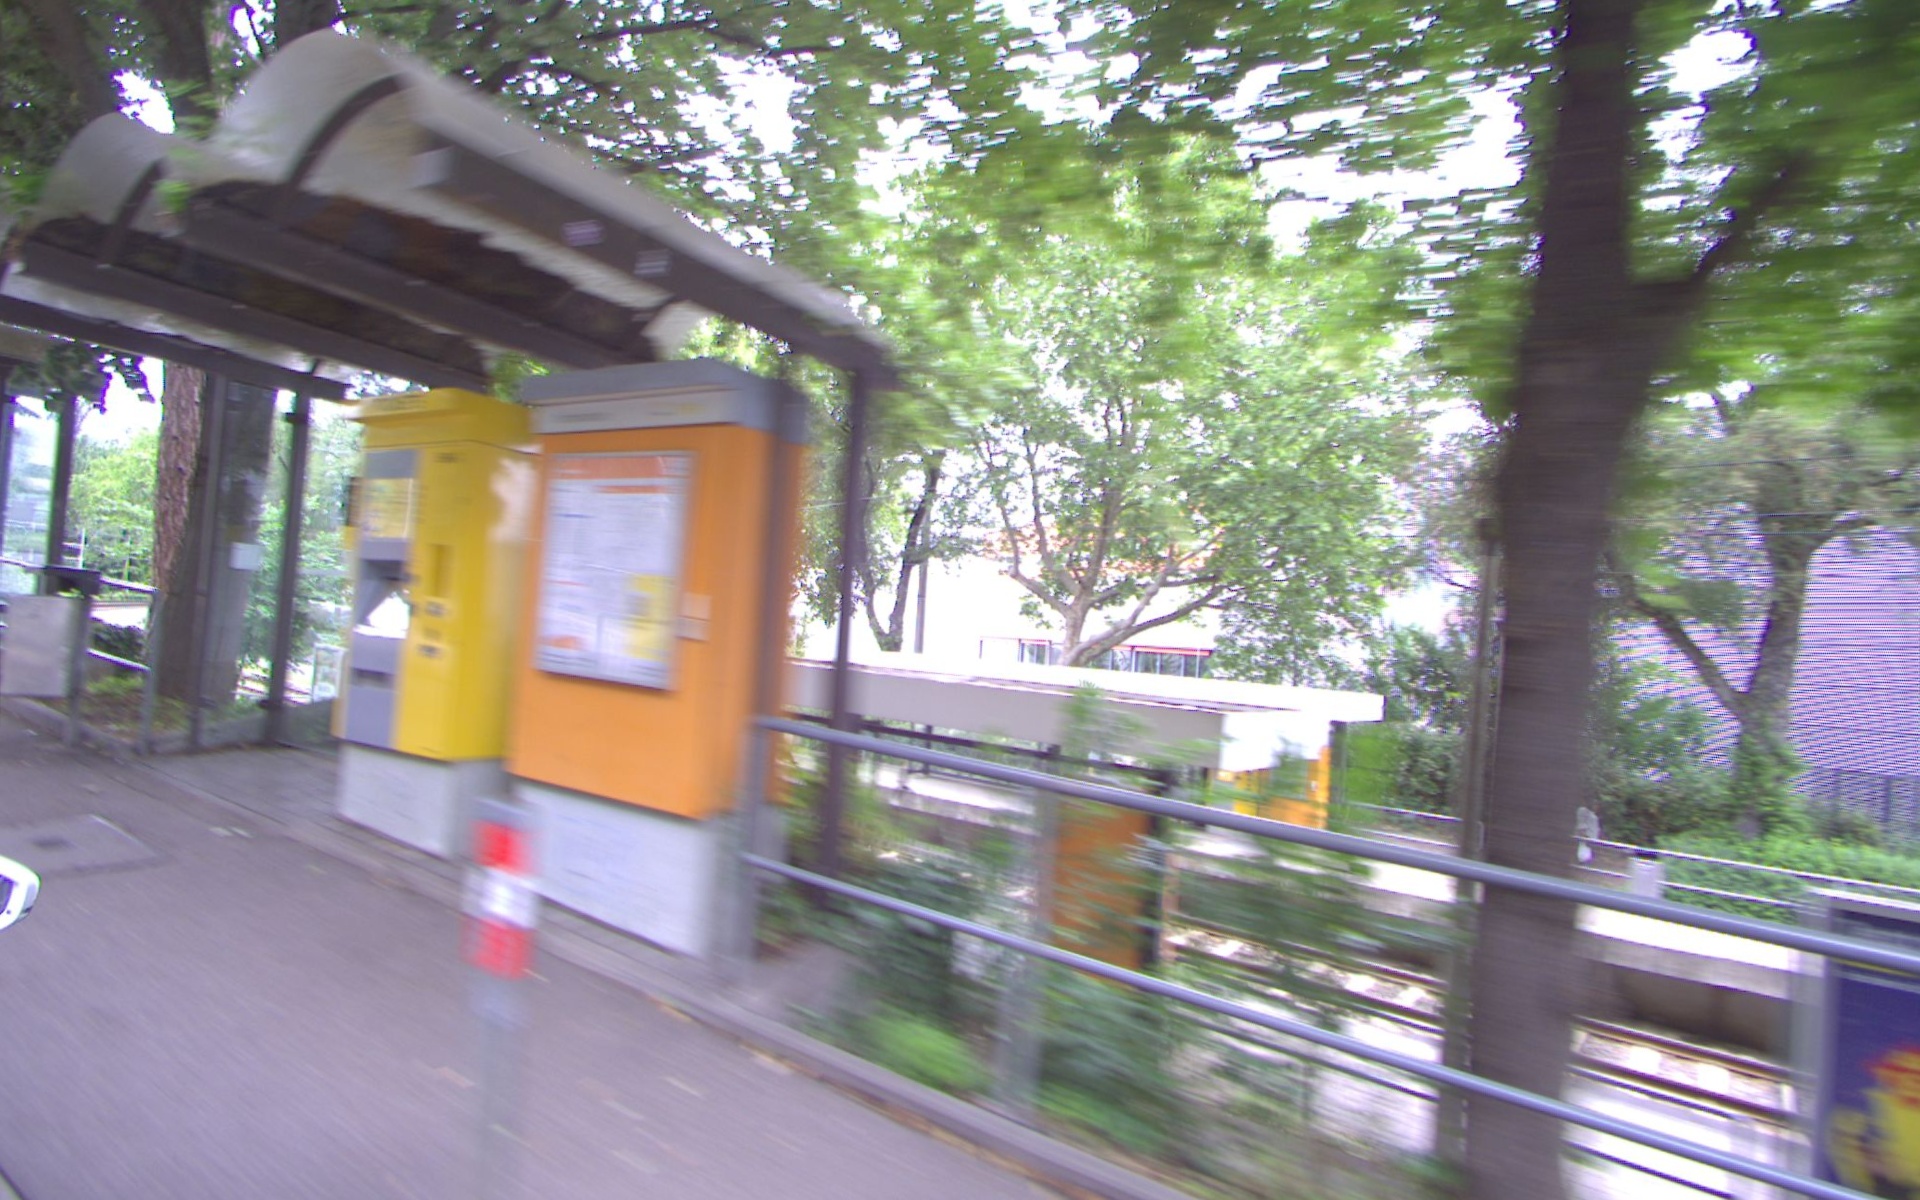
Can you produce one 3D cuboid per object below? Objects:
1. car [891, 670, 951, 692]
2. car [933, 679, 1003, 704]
[{"bbox_3d":[-3.070,6.377,79.246,4.282,1.487,1.990,3,0,-23],"label":"car"},{"bbox_3d":[0.546,6.165,67.938,4.276,1.487,1.992,2,1,-20],"label":"car"}]
